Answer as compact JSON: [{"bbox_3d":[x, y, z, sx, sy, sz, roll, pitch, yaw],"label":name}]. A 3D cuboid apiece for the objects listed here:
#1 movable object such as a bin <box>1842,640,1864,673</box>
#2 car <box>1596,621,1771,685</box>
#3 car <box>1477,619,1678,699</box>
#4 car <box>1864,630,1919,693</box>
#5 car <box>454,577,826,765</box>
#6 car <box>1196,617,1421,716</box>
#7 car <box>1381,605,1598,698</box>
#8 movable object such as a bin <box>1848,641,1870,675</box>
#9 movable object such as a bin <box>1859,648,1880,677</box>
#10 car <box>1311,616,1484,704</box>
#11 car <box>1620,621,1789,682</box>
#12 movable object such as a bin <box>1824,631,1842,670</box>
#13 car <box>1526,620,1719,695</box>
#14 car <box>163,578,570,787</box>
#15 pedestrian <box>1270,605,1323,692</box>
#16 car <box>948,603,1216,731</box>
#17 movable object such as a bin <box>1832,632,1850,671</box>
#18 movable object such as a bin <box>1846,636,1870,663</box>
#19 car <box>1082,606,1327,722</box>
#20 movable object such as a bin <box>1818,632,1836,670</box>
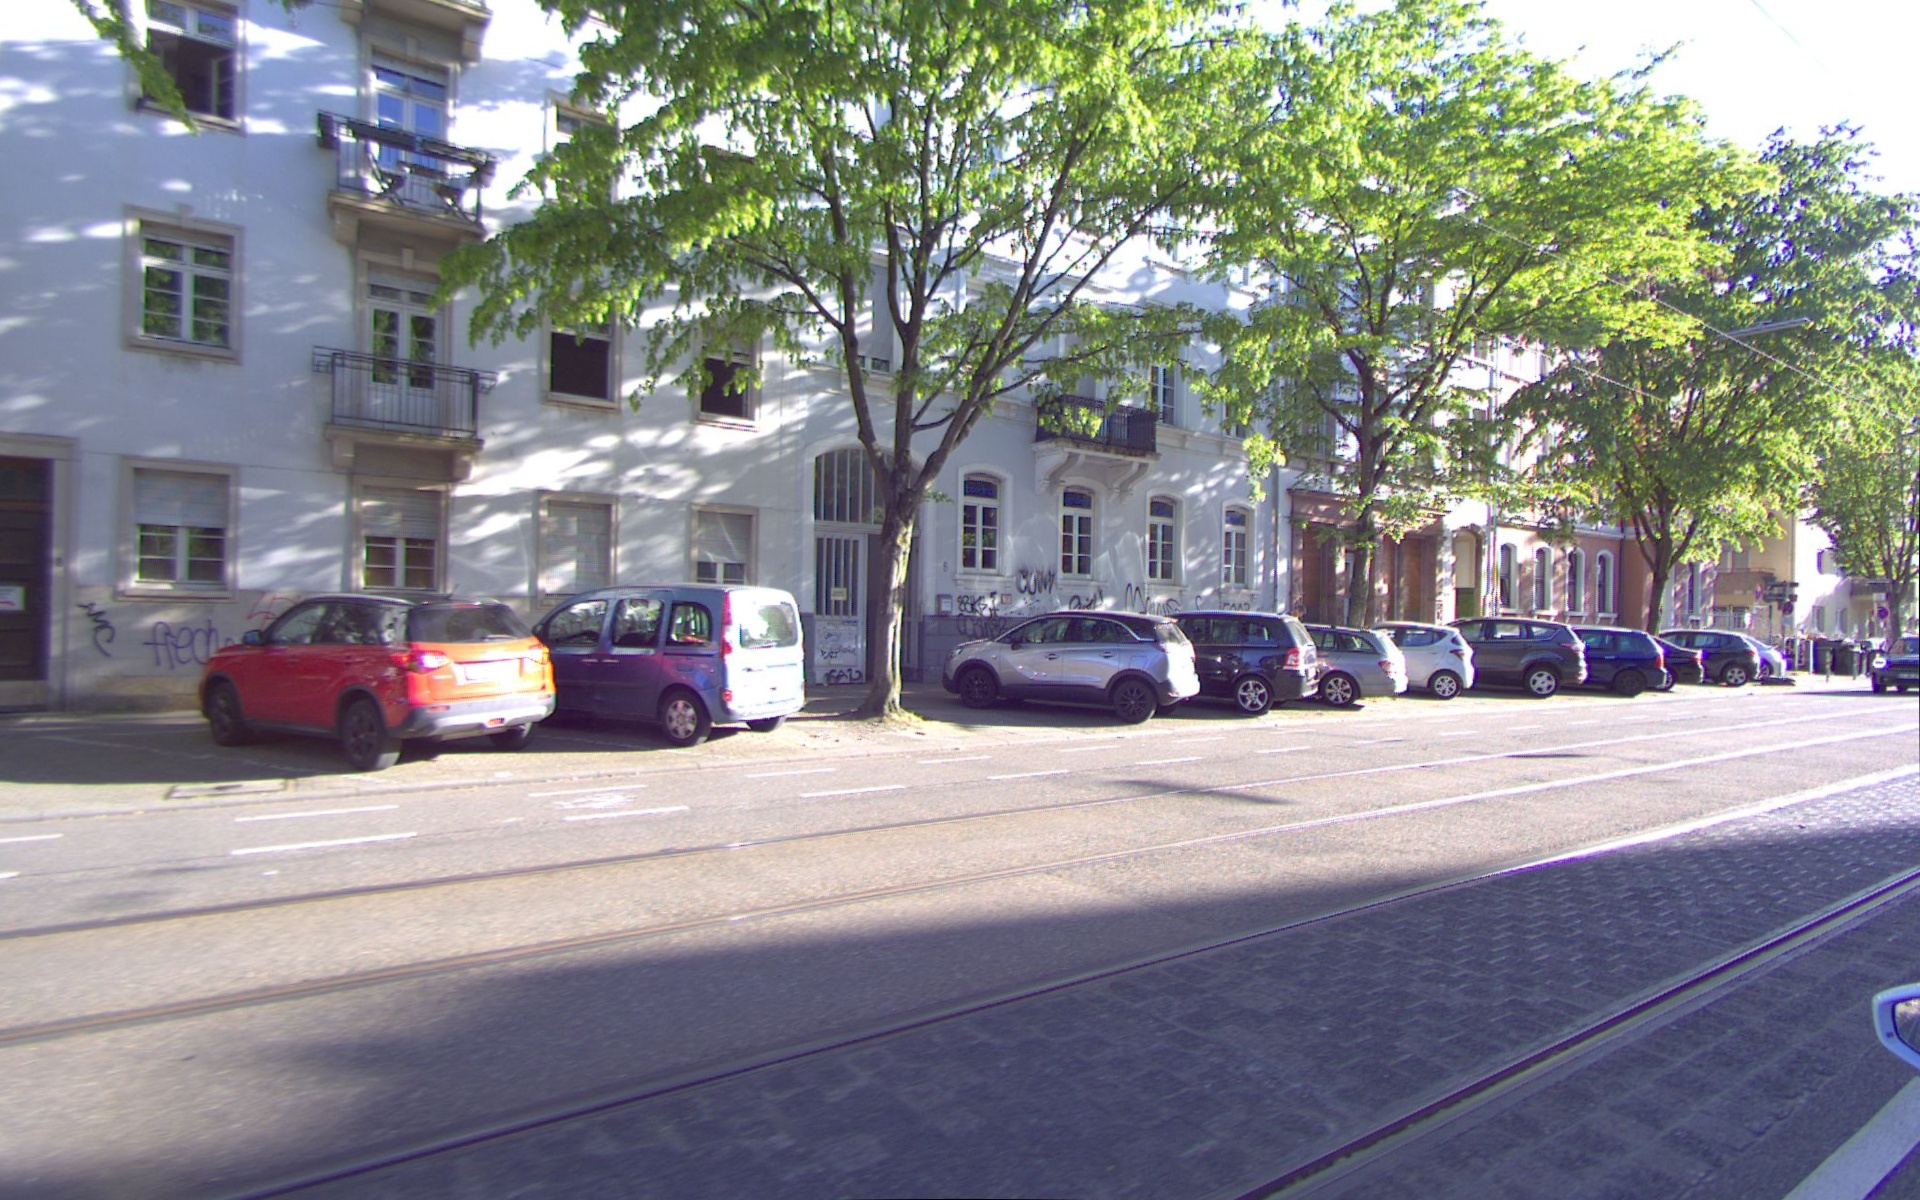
[{"bbox_3d":[33.319,2.108,37.481,0.630,1.219,0.379,2,-1,-22],"label":"movable object such as a bin"},{"bbox_3d":[21.088,1.499,29.477,3.848,1.528,1.688,3,1,25],"label":"car"},{"bbox_3d":[15.085,1.390,24.784,3.908,1.638,1.634,3,1,21],"label":"car"},{"bbox_3d":[26.448,1.652,27.569,4.390,1.622,1.855,2,-1,-40],"label":"car"},{"bbox_3d":[-3.930,0.755,12.338,4.120,1.822,1.785,3,0,23],"label":"car"},{"bbox_3d":[6.596,1.183,19.035,3.751,1.505,1.769,3,0,27],"label":"car"},{"bbox_3d":[12.140,1.134,23.304,4.205,1.745,1.706,4,0,25],"label":"car"},{"bbox_3d":[33.944,2.174,37.915,0.630,1.258,0.379,2,-1,-22],"label":"movable object such as a bin"},{"bbox_3d":[34.560,2.384,38.170,0.630,1.082,0.379,2,-1,-22],"label":"movable object such as a bin"},{"bbox_3d":[9.407,1.232,21.706,3.219,1.553,1.706,4,1,25],"label":"car"},{"bbox_3d":[23.283,1.575,31.592,3.839,1.542,1.735,3,1,20],"label":"car"},{"bbox_3d":[33.264,1.919,38.269,0.380,1.445,0.379,2,-1,-22],"label":"movable object such as a bin"},{"bbox_3d":[17.344,1.470,26.503,3.908,1.638,1.634,3,1,21],"label":"car"},{"bbox_3d":[-6.239,0.690,10.482,4.124,1.659,1.740,3,2,28],"label":"car"},{"bbox_3d":[7.058,1.002,21.065,0.803,1.779,0.756,2,-1,-45],"label":"pedestrian"},{"bbox_3d":[1.934,0.985,15.967,3.799,1.676,1.771,2,0,27],"label":"car"},{"bbox_3d":[33.657,1.962,38.382,0.382,1.445,0.379,2,-1,-22],"label":"movable object such as a bin"},{"bbox_3d":[38.568,2.120,43.139,1.133,1.141,0.424,2,-1,-28],"label":"movable object such as a bin"},{"bbox_3d":[4.253,1.037,17.532,3.799,1.676,1.771,2,0,28],"label":"car"},{"bbox_3d":[32.875,1.926,38.102,0.382,1.445,0.379,2,-1,-22],"label":"movable object such as a bin"}]
